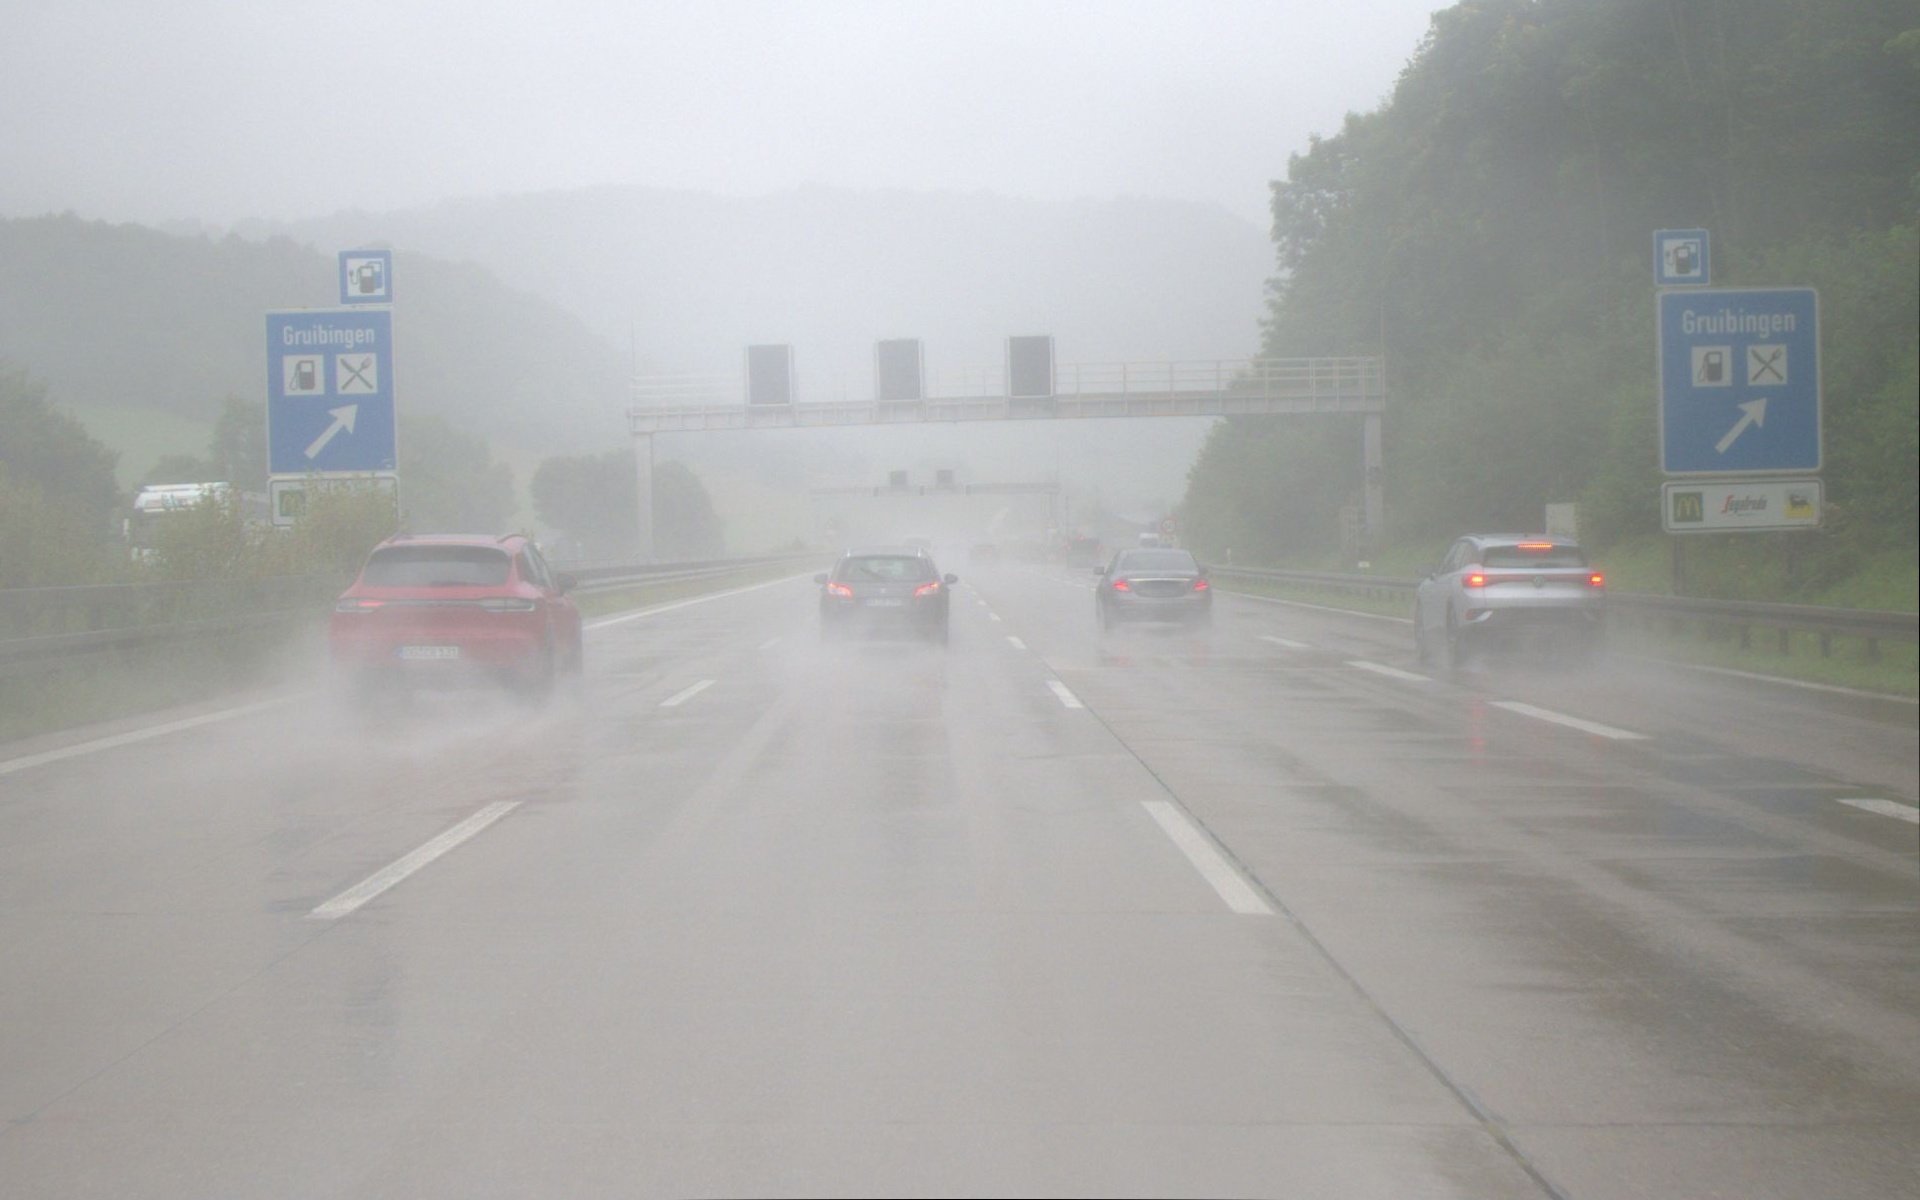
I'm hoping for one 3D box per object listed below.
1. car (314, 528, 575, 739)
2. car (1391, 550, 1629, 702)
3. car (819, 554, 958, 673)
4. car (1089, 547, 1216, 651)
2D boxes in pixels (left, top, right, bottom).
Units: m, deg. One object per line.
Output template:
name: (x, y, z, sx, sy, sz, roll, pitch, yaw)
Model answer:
car: (-4.650, 0.247, 31.545, 1.884, 1.809, 4.000, 0, 1, -1)
car: (6.763, 0.275, 42.863, 1.993, 1.744, 5.663, 1, 1, 0)
car: (-0.976, 0.161, 48.264, 1.859, 1.584, 4.000, 1, 1, 0)
car: (3.350, -0.049, 60.427, 1.971, 1.754, 4.000, 0, 1, 0)
